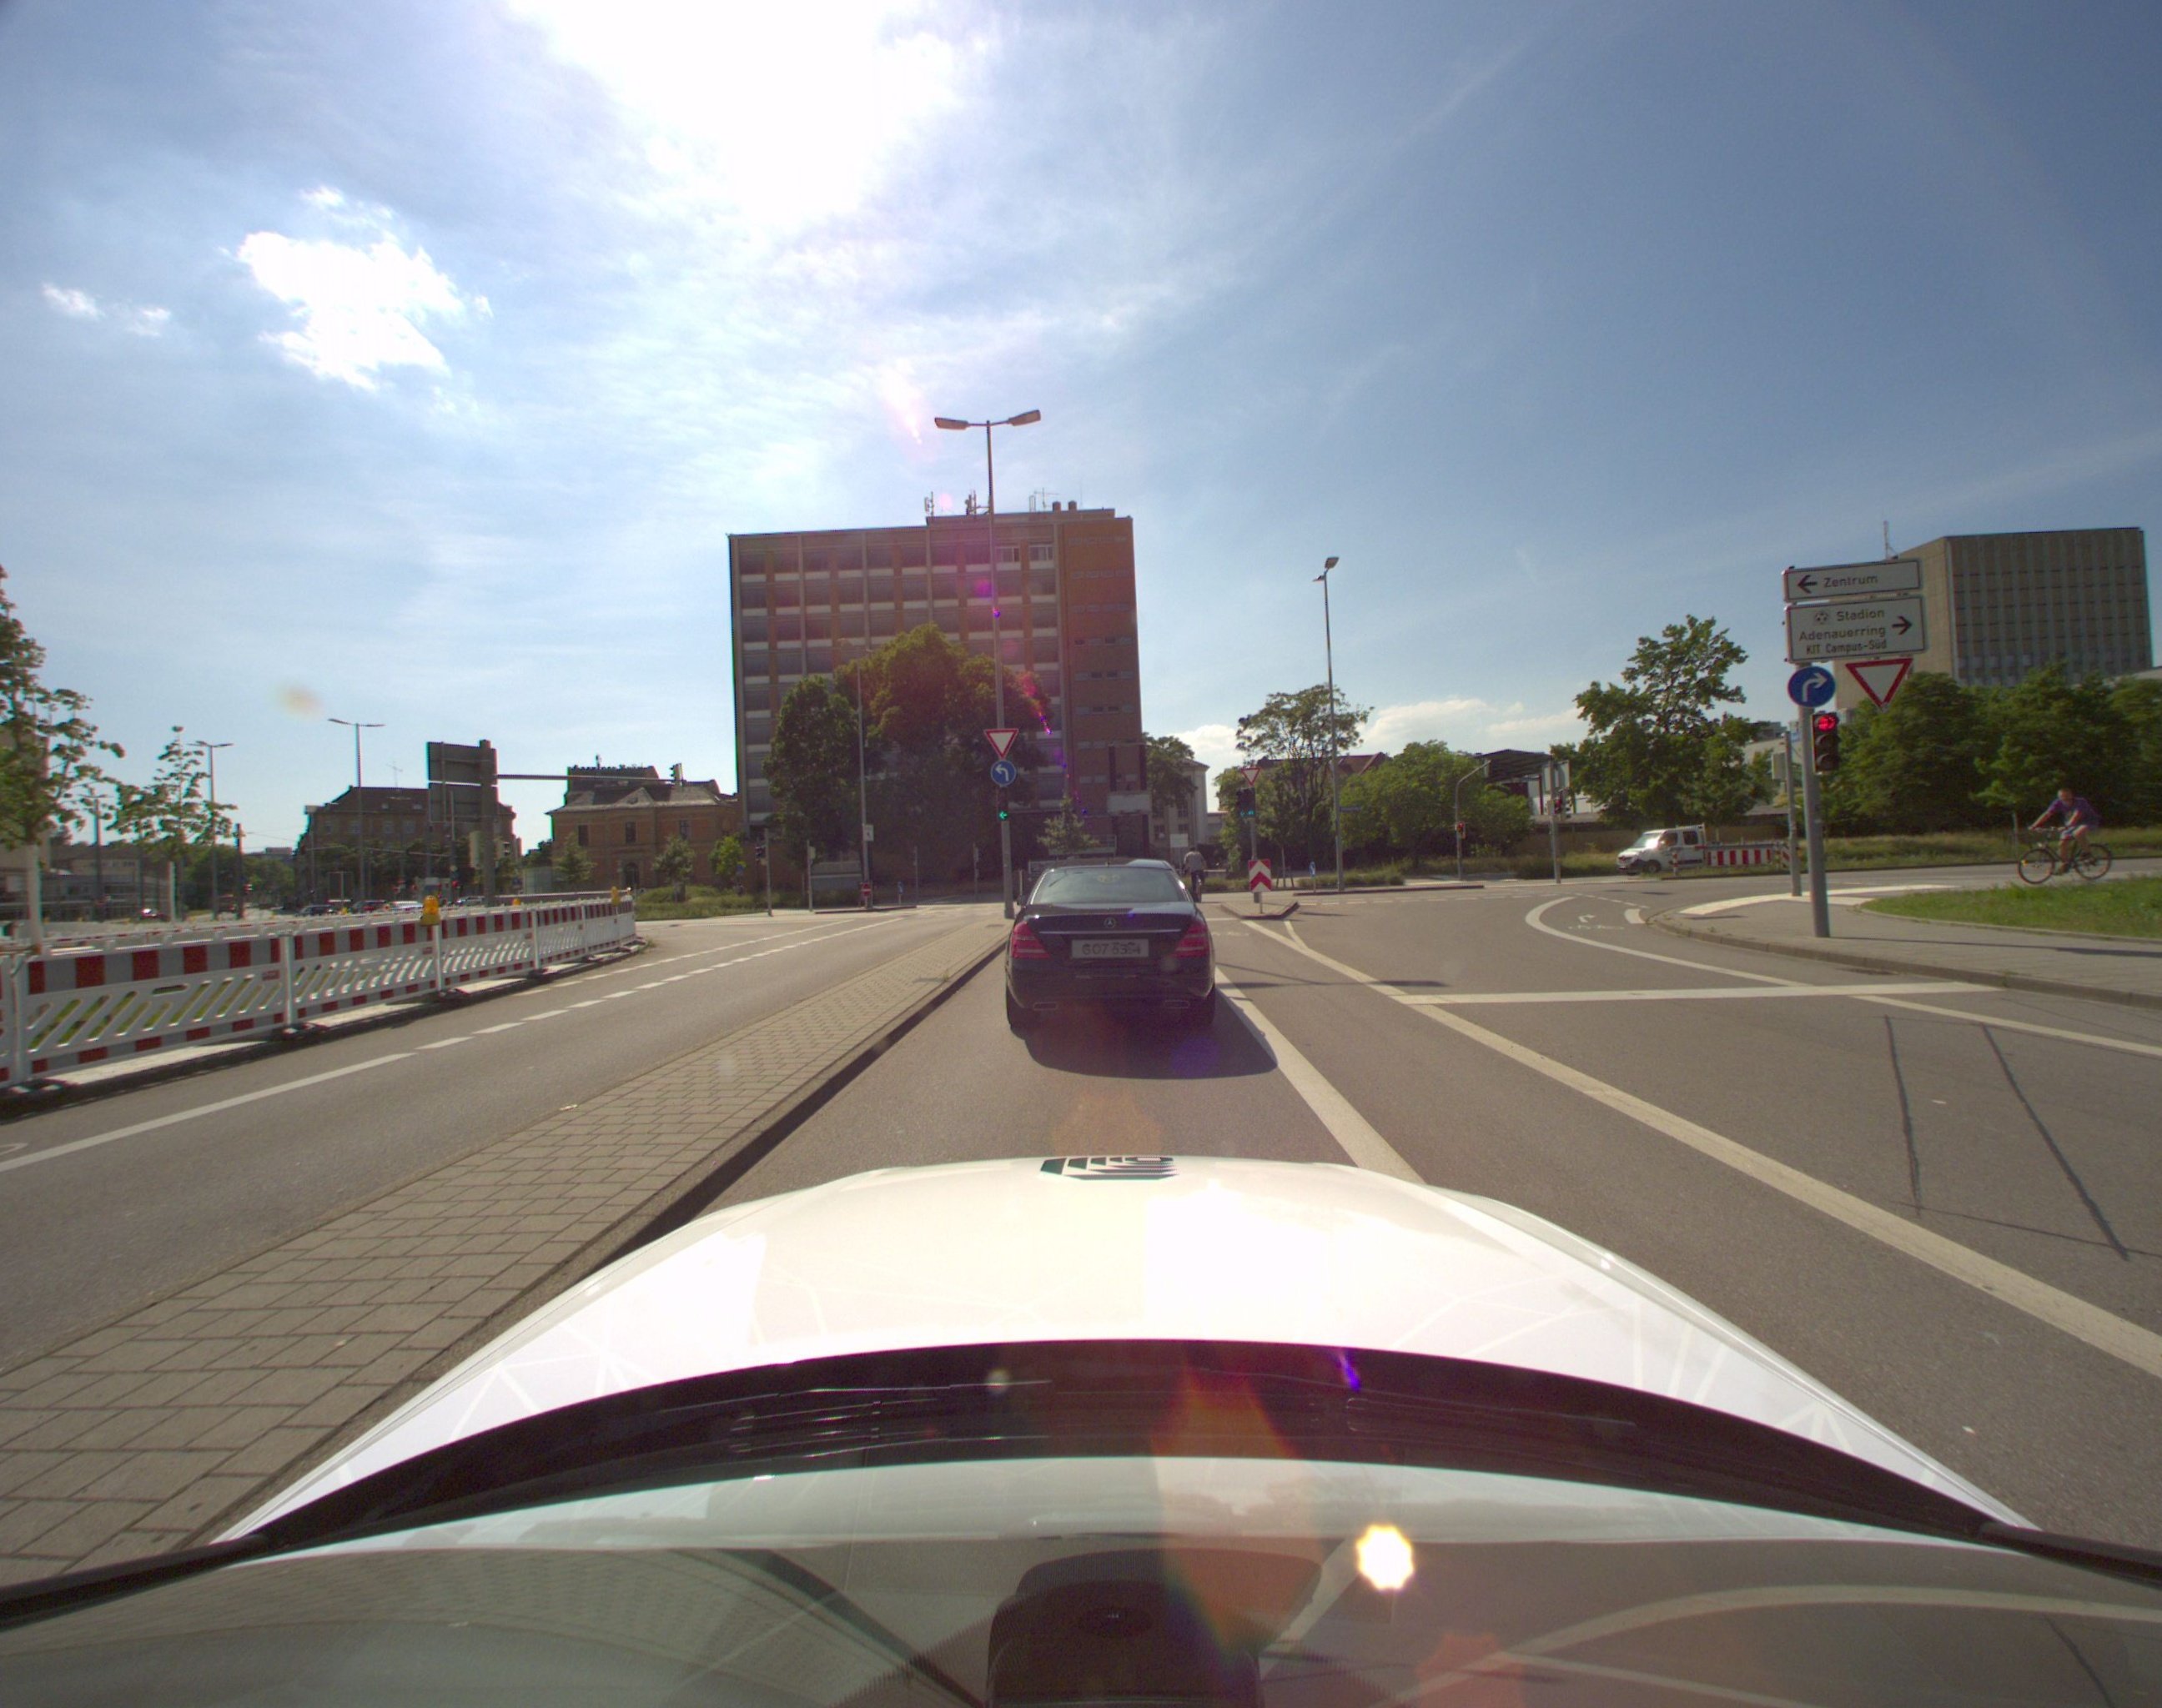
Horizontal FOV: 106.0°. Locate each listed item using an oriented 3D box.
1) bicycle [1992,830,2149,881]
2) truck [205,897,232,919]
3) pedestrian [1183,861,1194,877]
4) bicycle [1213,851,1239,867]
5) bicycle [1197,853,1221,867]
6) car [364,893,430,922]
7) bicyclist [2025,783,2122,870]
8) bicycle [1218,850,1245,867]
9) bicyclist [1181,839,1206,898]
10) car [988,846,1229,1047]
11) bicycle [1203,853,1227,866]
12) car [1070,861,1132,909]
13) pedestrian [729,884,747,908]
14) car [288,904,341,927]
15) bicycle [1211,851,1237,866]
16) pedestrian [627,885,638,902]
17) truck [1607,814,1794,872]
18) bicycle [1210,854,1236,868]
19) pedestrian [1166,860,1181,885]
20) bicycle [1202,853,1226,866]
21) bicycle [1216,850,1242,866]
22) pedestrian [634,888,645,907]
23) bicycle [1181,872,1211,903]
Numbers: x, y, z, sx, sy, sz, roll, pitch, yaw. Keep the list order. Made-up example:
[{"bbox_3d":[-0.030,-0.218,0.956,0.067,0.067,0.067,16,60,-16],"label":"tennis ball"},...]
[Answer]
[{"bbox_3d":[19.572,0.036,16.159,1.912,0.887,0.688,-3,-1,14],"label":"bicycle"},{"bbox_3d":[-162.985,10.194,153.879,7.827,3.730,3.093,-4,-2,41],"label":"truck"},{"bbox_3d":[8.206,1.127,62.317,0.788,1.214,0.759,-1,-1,8],"label":"pedestrian"},{"bbox_3d":[16.782,0.545,94.547,2.813,1.659,0.842,-3,1,1],"label":"bicycle"},{"bbox_3d":[15.874,0.788,100.795,2.813,1.559,0.842,-3,-1,1],"label":"bicycle"},{"bbox_3d":[-48.085,3.789,57.251,3.951,1.816,2.011,-3,-1,24],"label":"car"},{"bbox_3d":[19.660,-0.522,16.162,0.485,1.637,1.084,-3,-1,-1],"label":"bicyclist"},{"bbox_3d":[17.024,0.469,92.103,2.813,1.744,0.842,-3,-1,1],"label":"bicycle"},{"bbox_3d":[3.687,0.466,26.723,0.683,1.878,0.860,-1,-1,1],"label":"bicyclist"},{"bbox_3d":[0.240,0.743,8.666,1.852,1.530,4.713,-1,-1,1],"label":"car"},{"bbox_3d":[16.947,0.664,102.873,2.813,1.500,0.842,-3,-1,1],"label":"bicycle"},{"bbox_3d":[0.707,1.006,27.977,1.986,1.508,4.001,0,-1,2],"label":"car"},{"bbox_3d":[-25.408,3.086,60.341,0.790,1.725,0.878,-3,-2,24],"label":"pedestrian"},{"bbox_3d":[-55.553,4.446,59.016,3.948,1.510,1.811,-3,-1,32],"label":"car"},{"bbox_3d":[16.816,0.543,95.734,2.813,1.587,0.842,-3,-1,1],"label":"bicycle"},{"bbox_3d":[-44.083,3.887,80.059,0.644,1.661,0.652,-3,-2,9],"label":"pedestrian"},{"bbox_3d":[29.890,-0.493,39.474,6.997,2.356,2.414,-3,-2,2],"label":"truck"},{"bbox_3d":[16.816,0.862,96.532,2.813,1.537,0.842,-3,-1,1],"label":"bicycle"},{"bbox_3d":[5.889,1.189,51.957,0.807,1.579,0.693,-3,-1,3],"label":"pedestrian"},{"bbox_3d":[16.987,0.661,103.937,2.812,1.480,0.842,-3,-1,2],"label":"bicycle"},{"bbox_3d":[16.935,0.462,93.207,2.813,1.649,0.842,-3,-1,1],"label":"bicycle"},{"bbox_3d":[-39.704,3.873,73.226,0.642,1.661,0.654,-1,-1,28],"label":"pedestrian"},{"bbox_3d":[3.692,1.060,26.342,0.690,0.946,1.958,0,-1,0],"label":"bicycle"}]
